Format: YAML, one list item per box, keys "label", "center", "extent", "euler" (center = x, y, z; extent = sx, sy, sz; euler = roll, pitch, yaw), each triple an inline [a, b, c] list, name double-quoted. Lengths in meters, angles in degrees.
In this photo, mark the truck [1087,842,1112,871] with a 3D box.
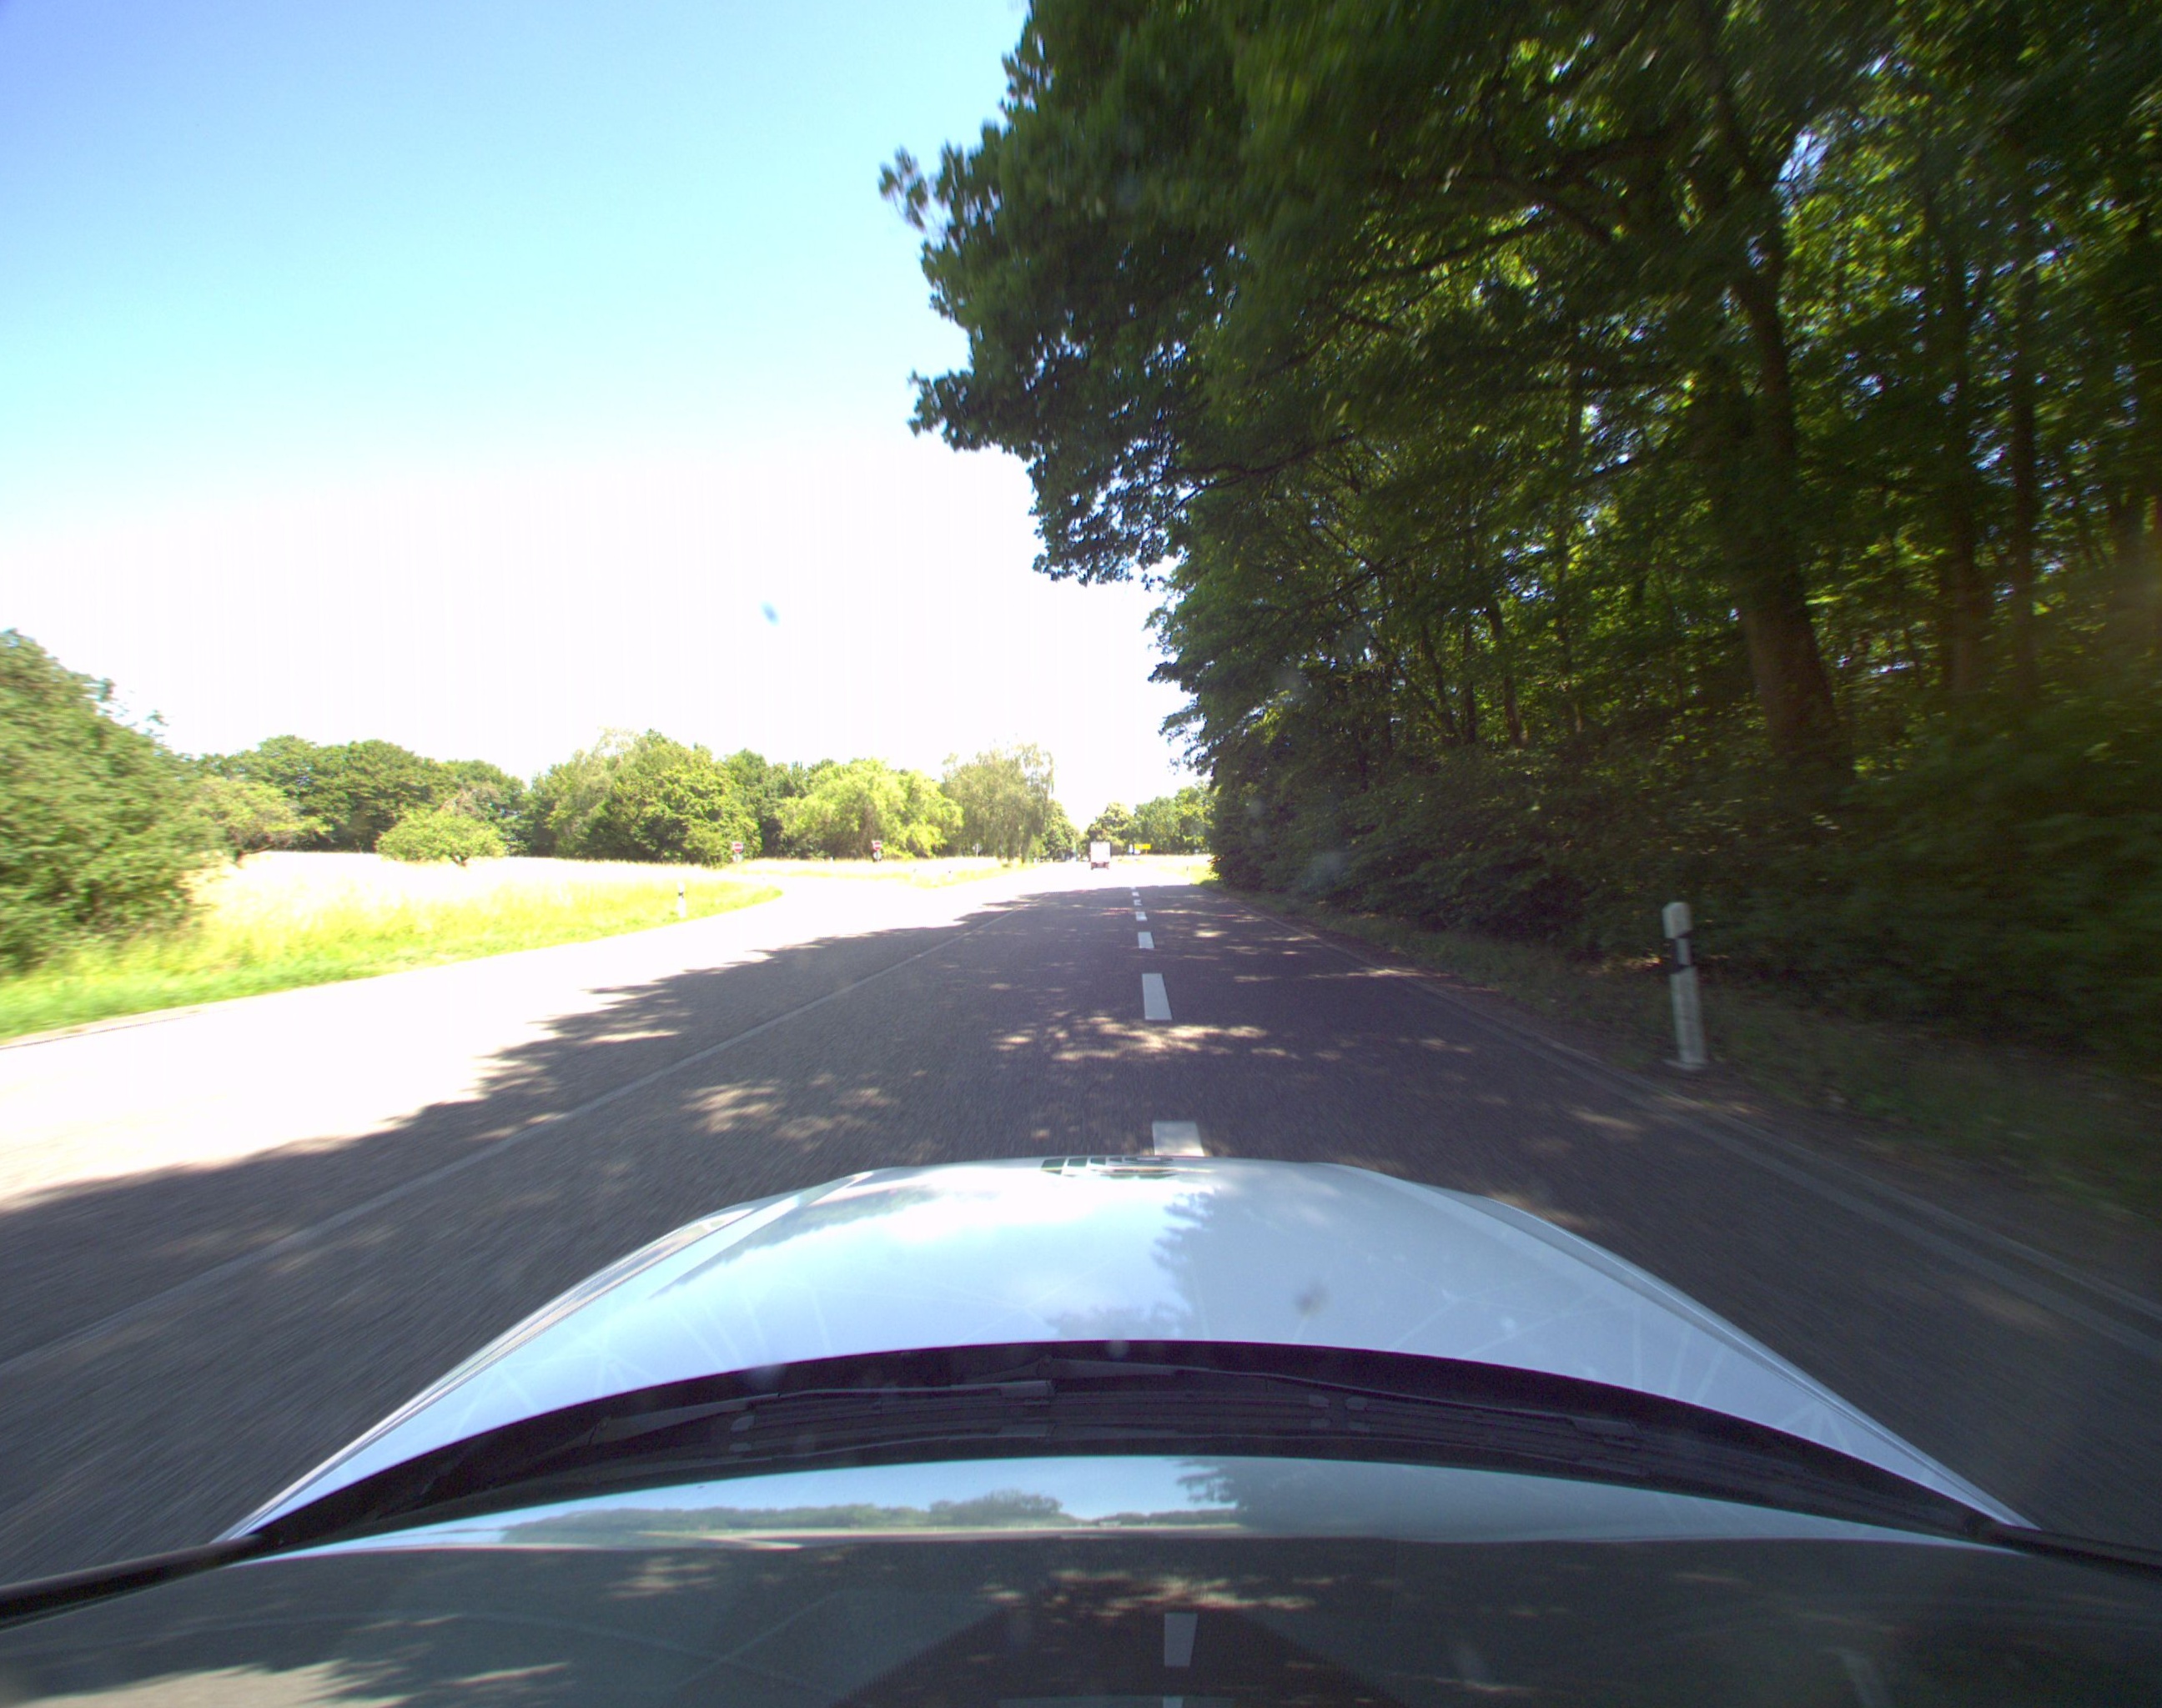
- label: "truck"
  center: [2.054, 0.264, 89.008]
  extent: [2.524, 3.135, 5.364]
  euler: [-1, 0, 2]
